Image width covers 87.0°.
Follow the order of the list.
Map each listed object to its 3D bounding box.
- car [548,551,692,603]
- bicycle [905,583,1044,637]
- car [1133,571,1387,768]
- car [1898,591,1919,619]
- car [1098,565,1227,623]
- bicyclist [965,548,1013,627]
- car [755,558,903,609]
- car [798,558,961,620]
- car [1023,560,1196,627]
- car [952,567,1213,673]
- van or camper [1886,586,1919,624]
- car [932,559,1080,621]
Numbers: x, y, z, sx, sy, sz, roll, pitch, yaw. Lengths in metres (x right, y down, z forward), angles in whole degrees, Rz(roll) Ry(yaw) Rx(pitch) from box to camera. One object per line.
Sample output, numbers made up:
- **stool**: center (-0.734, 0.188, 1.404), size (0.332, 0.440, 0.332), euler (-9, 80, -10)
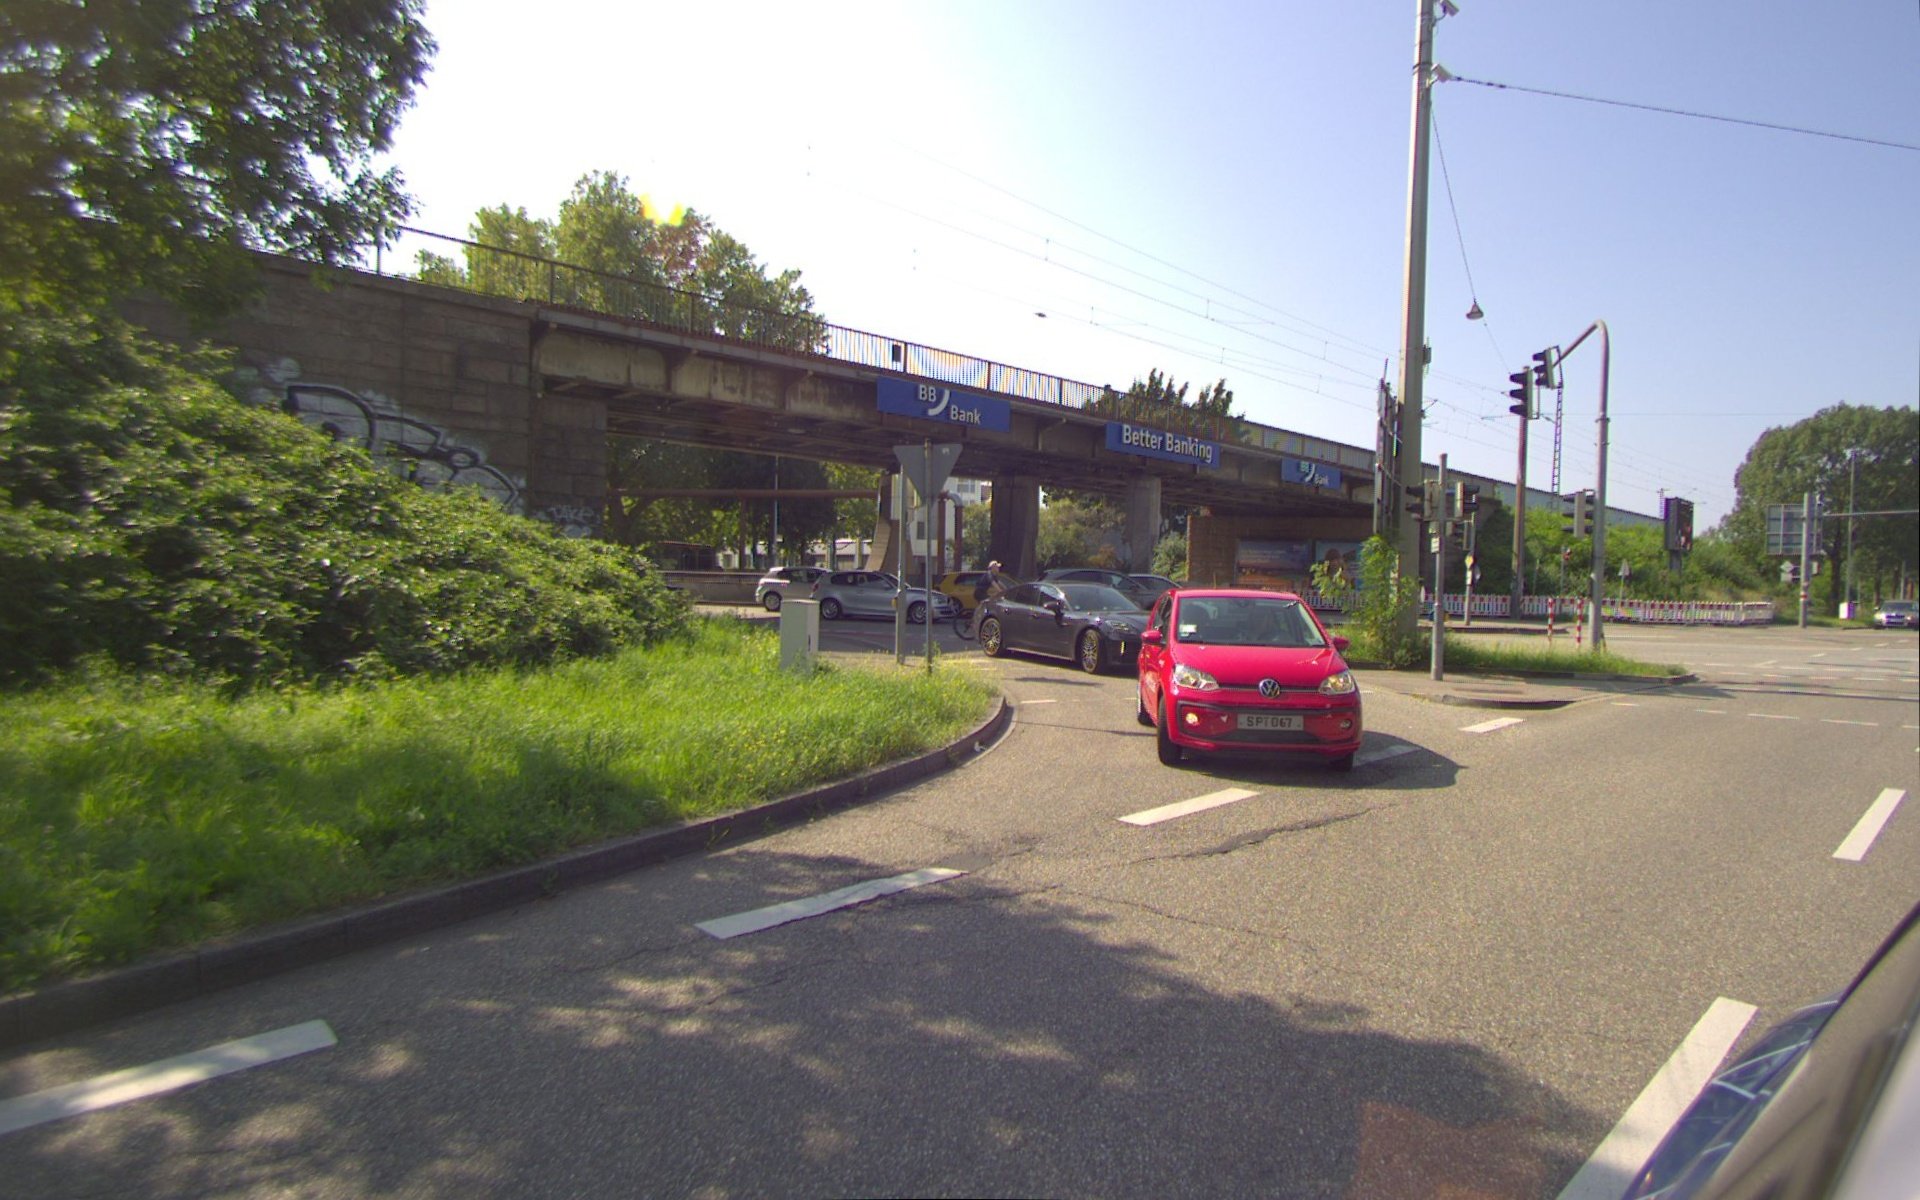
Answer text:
- **car**: center (-11.218, -0.768, 33.519), size (4.118, 1.501, 1.853), euler (3, 1, 9)
- **bicycle**: center (0.345, 0.206, 22.401), size (2.927, 1.062, 1.233), euler (2, 1, 8)
- **car**: center (2.583, 0.519, 9.502), size (1.615, 1.486, 3.548), euler (0, 0, 5)
- **car**: center (54.019, 0.274, 56.644), size (3.934, 1.571, 1.995), euler (0, 0, -44)
- **car**: center (5.970, -0.209, 30.136), size (3.635, 1.557, 1.723), euler (2, 2, 9)
- **bicyclist**: center (0.651, -0.275, 22.277), size (0.954, 1.679, 0.711), euler (2, 1, 7)
- **car**: center (-4.126, -0.517, 32.245), size (4.276, 1.488, 1.995), euler (1, 1, 9)
- **car**: center (-2.242, -0.354, 28.789), size (4.276, 1.540, 1.996), euler (2, 3, 9)
- **car**: center (4.064, -0.224, 27.300), size (4.410, 1.637, 1.899), euler (1, 2, 15)
- **car**: center (1.963, 0.223, 17.933), size (1.961, 1.480, 4.892), euler (-1, 4, -32)
- **van or camper**: center (49.352, 0.270, 52.265), size (4.101, 1.799, 1.848), euler (3, -2, -42)
- **car**: center (1.445, -0.313, 31.028), size (4.277, 1.592, 1.995), euler (4, 1, 9)
